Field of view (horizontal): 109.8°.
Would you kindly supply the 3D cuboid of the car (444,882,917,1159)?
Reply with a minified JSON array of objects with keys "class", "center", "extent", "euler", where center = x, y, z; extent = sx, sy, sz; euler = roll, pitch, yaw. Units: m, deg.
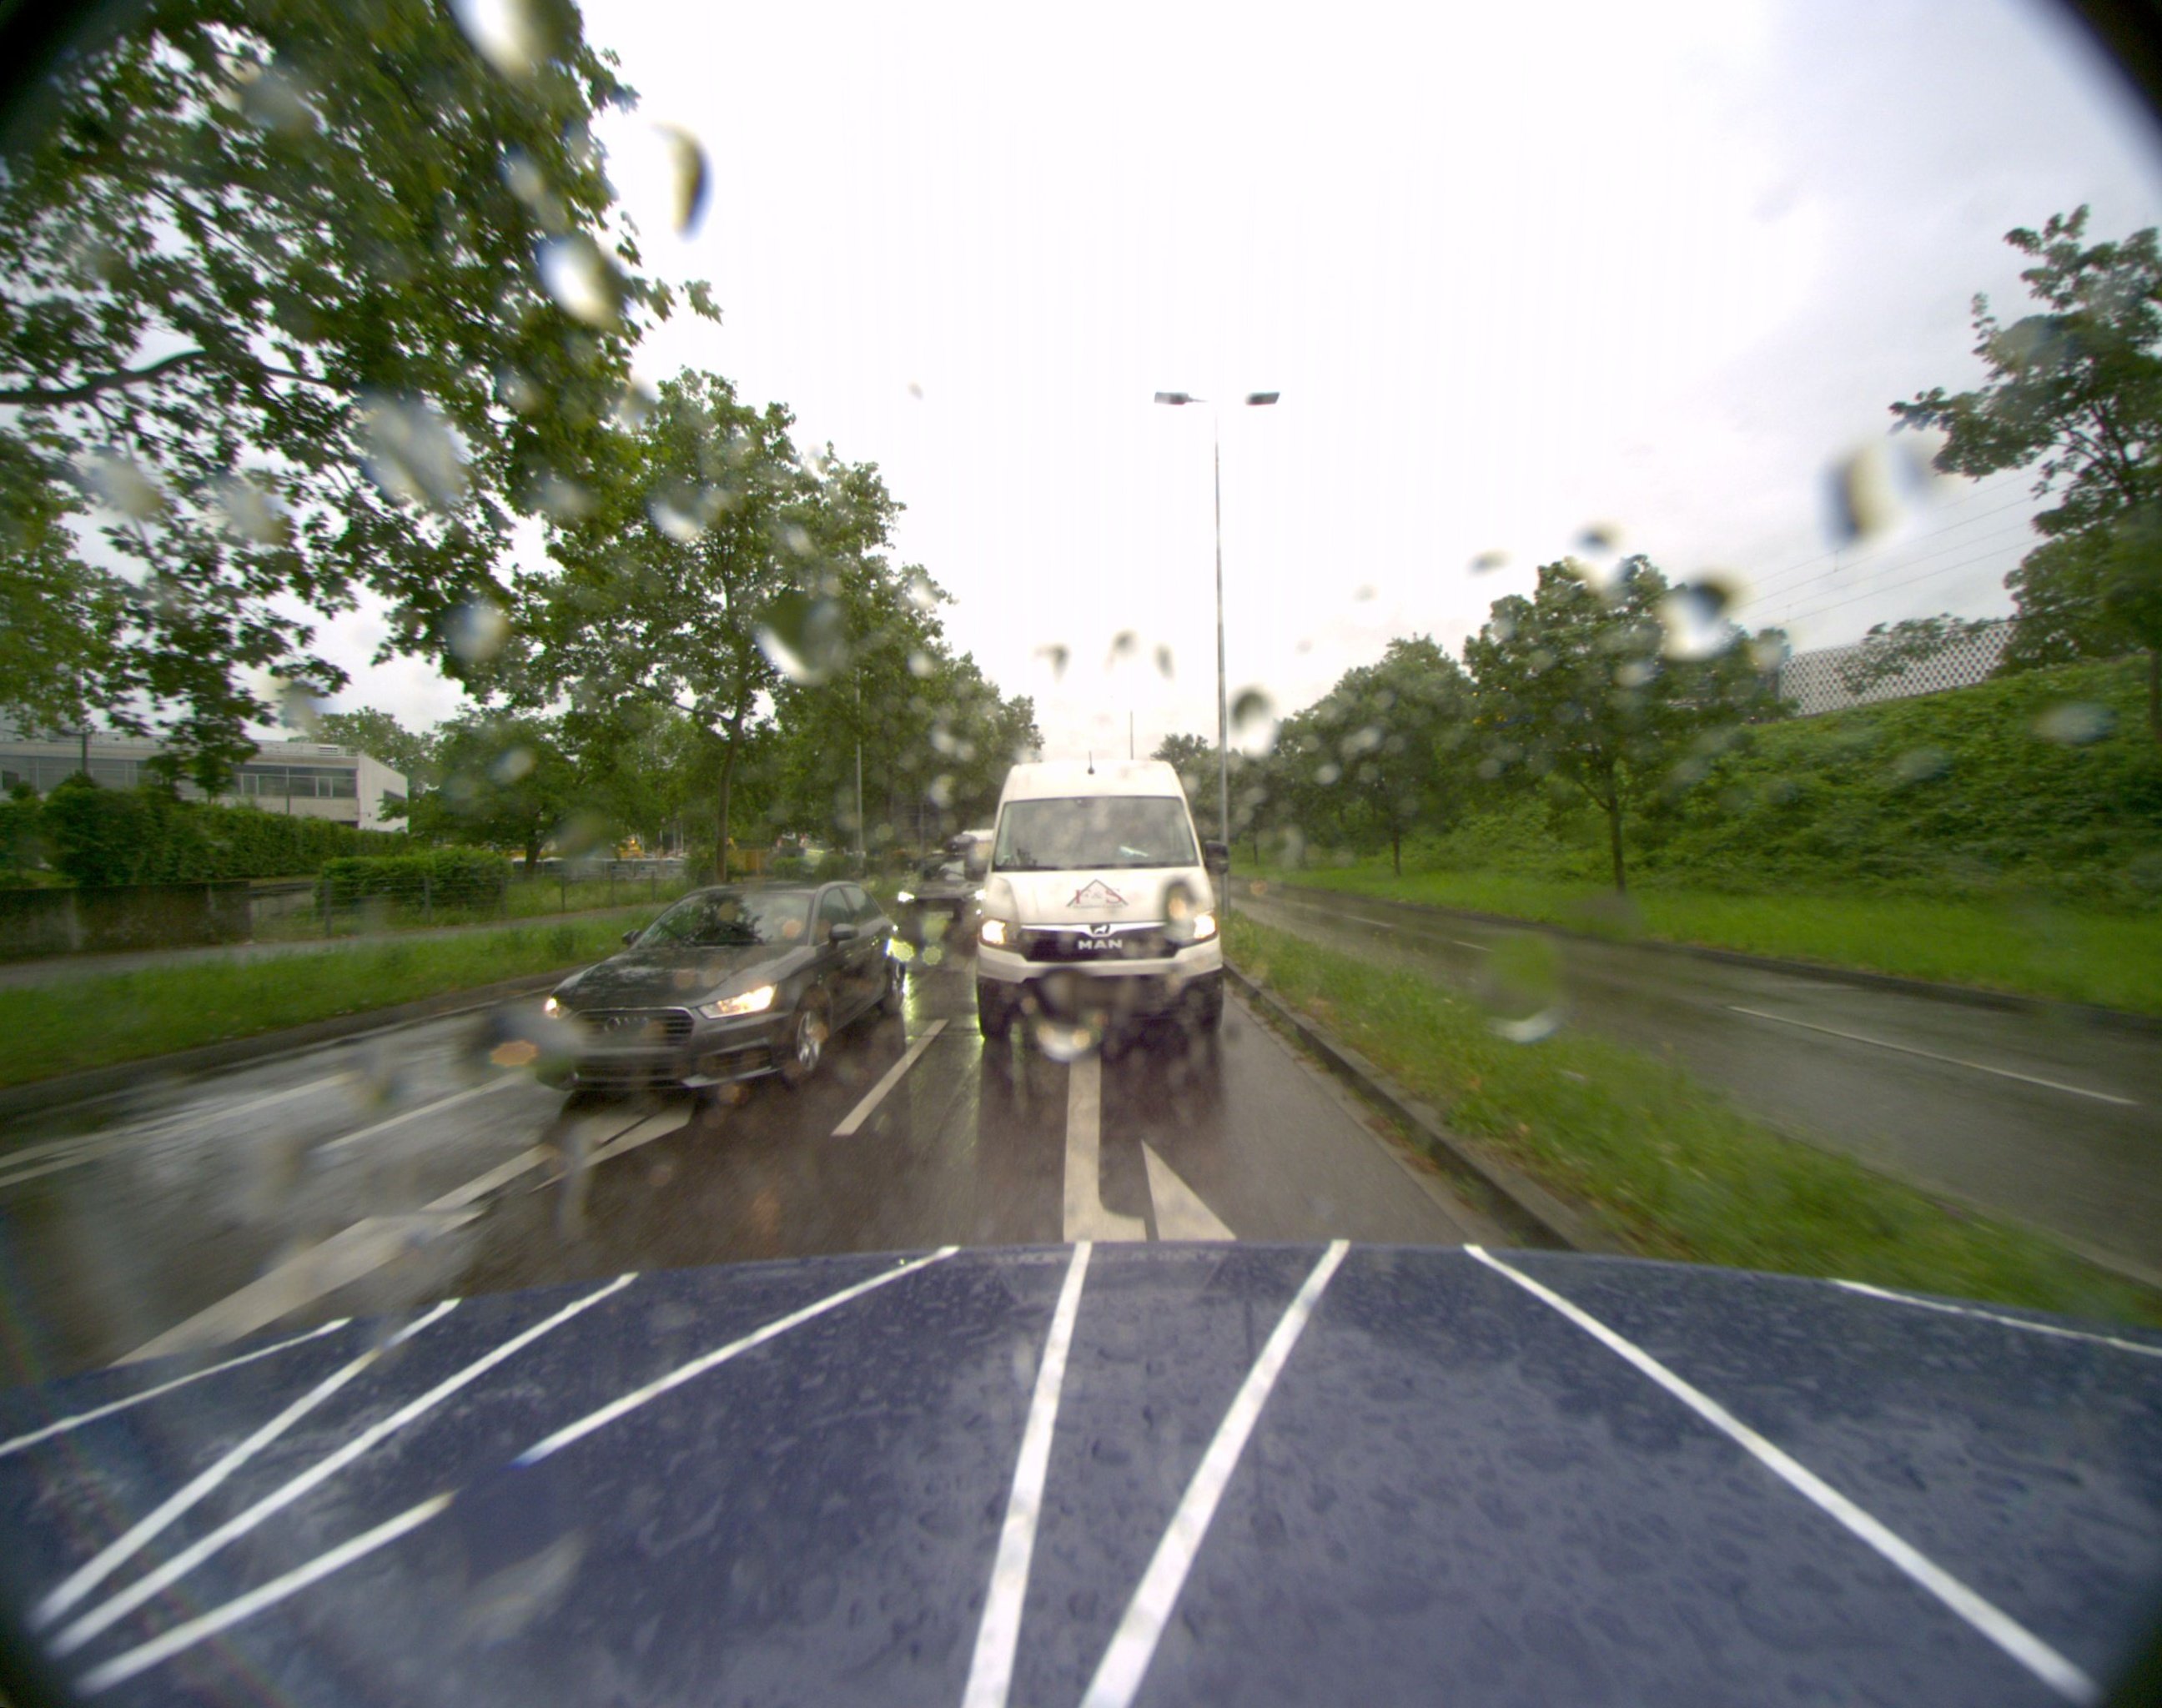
[{"class":"car","center":[-2.742,1.047,6.308],"extent":[1.841,1.390,3.753],"euler":[-2,1,1]}]

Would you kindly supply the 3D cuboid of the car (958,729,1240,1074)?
[{"class":"car","center":[0.067,0.311,8.339],"extent":[1.969,2.419,5.960],"euler":[-1,1,-1]}]

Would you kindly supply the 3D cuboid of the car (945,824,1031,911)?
[{"class":"car","center":[-2.774,0.357,23.889],"extent":[1.998,2.416,4.977],"euler":[0,1,1]}]

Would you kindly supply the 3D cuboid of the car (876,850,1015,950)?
[{"class":"car","center":[-2.575,0.800,15.584],"extent":[1.998,1.738,4.327],"euler":[0,1,1]}]
